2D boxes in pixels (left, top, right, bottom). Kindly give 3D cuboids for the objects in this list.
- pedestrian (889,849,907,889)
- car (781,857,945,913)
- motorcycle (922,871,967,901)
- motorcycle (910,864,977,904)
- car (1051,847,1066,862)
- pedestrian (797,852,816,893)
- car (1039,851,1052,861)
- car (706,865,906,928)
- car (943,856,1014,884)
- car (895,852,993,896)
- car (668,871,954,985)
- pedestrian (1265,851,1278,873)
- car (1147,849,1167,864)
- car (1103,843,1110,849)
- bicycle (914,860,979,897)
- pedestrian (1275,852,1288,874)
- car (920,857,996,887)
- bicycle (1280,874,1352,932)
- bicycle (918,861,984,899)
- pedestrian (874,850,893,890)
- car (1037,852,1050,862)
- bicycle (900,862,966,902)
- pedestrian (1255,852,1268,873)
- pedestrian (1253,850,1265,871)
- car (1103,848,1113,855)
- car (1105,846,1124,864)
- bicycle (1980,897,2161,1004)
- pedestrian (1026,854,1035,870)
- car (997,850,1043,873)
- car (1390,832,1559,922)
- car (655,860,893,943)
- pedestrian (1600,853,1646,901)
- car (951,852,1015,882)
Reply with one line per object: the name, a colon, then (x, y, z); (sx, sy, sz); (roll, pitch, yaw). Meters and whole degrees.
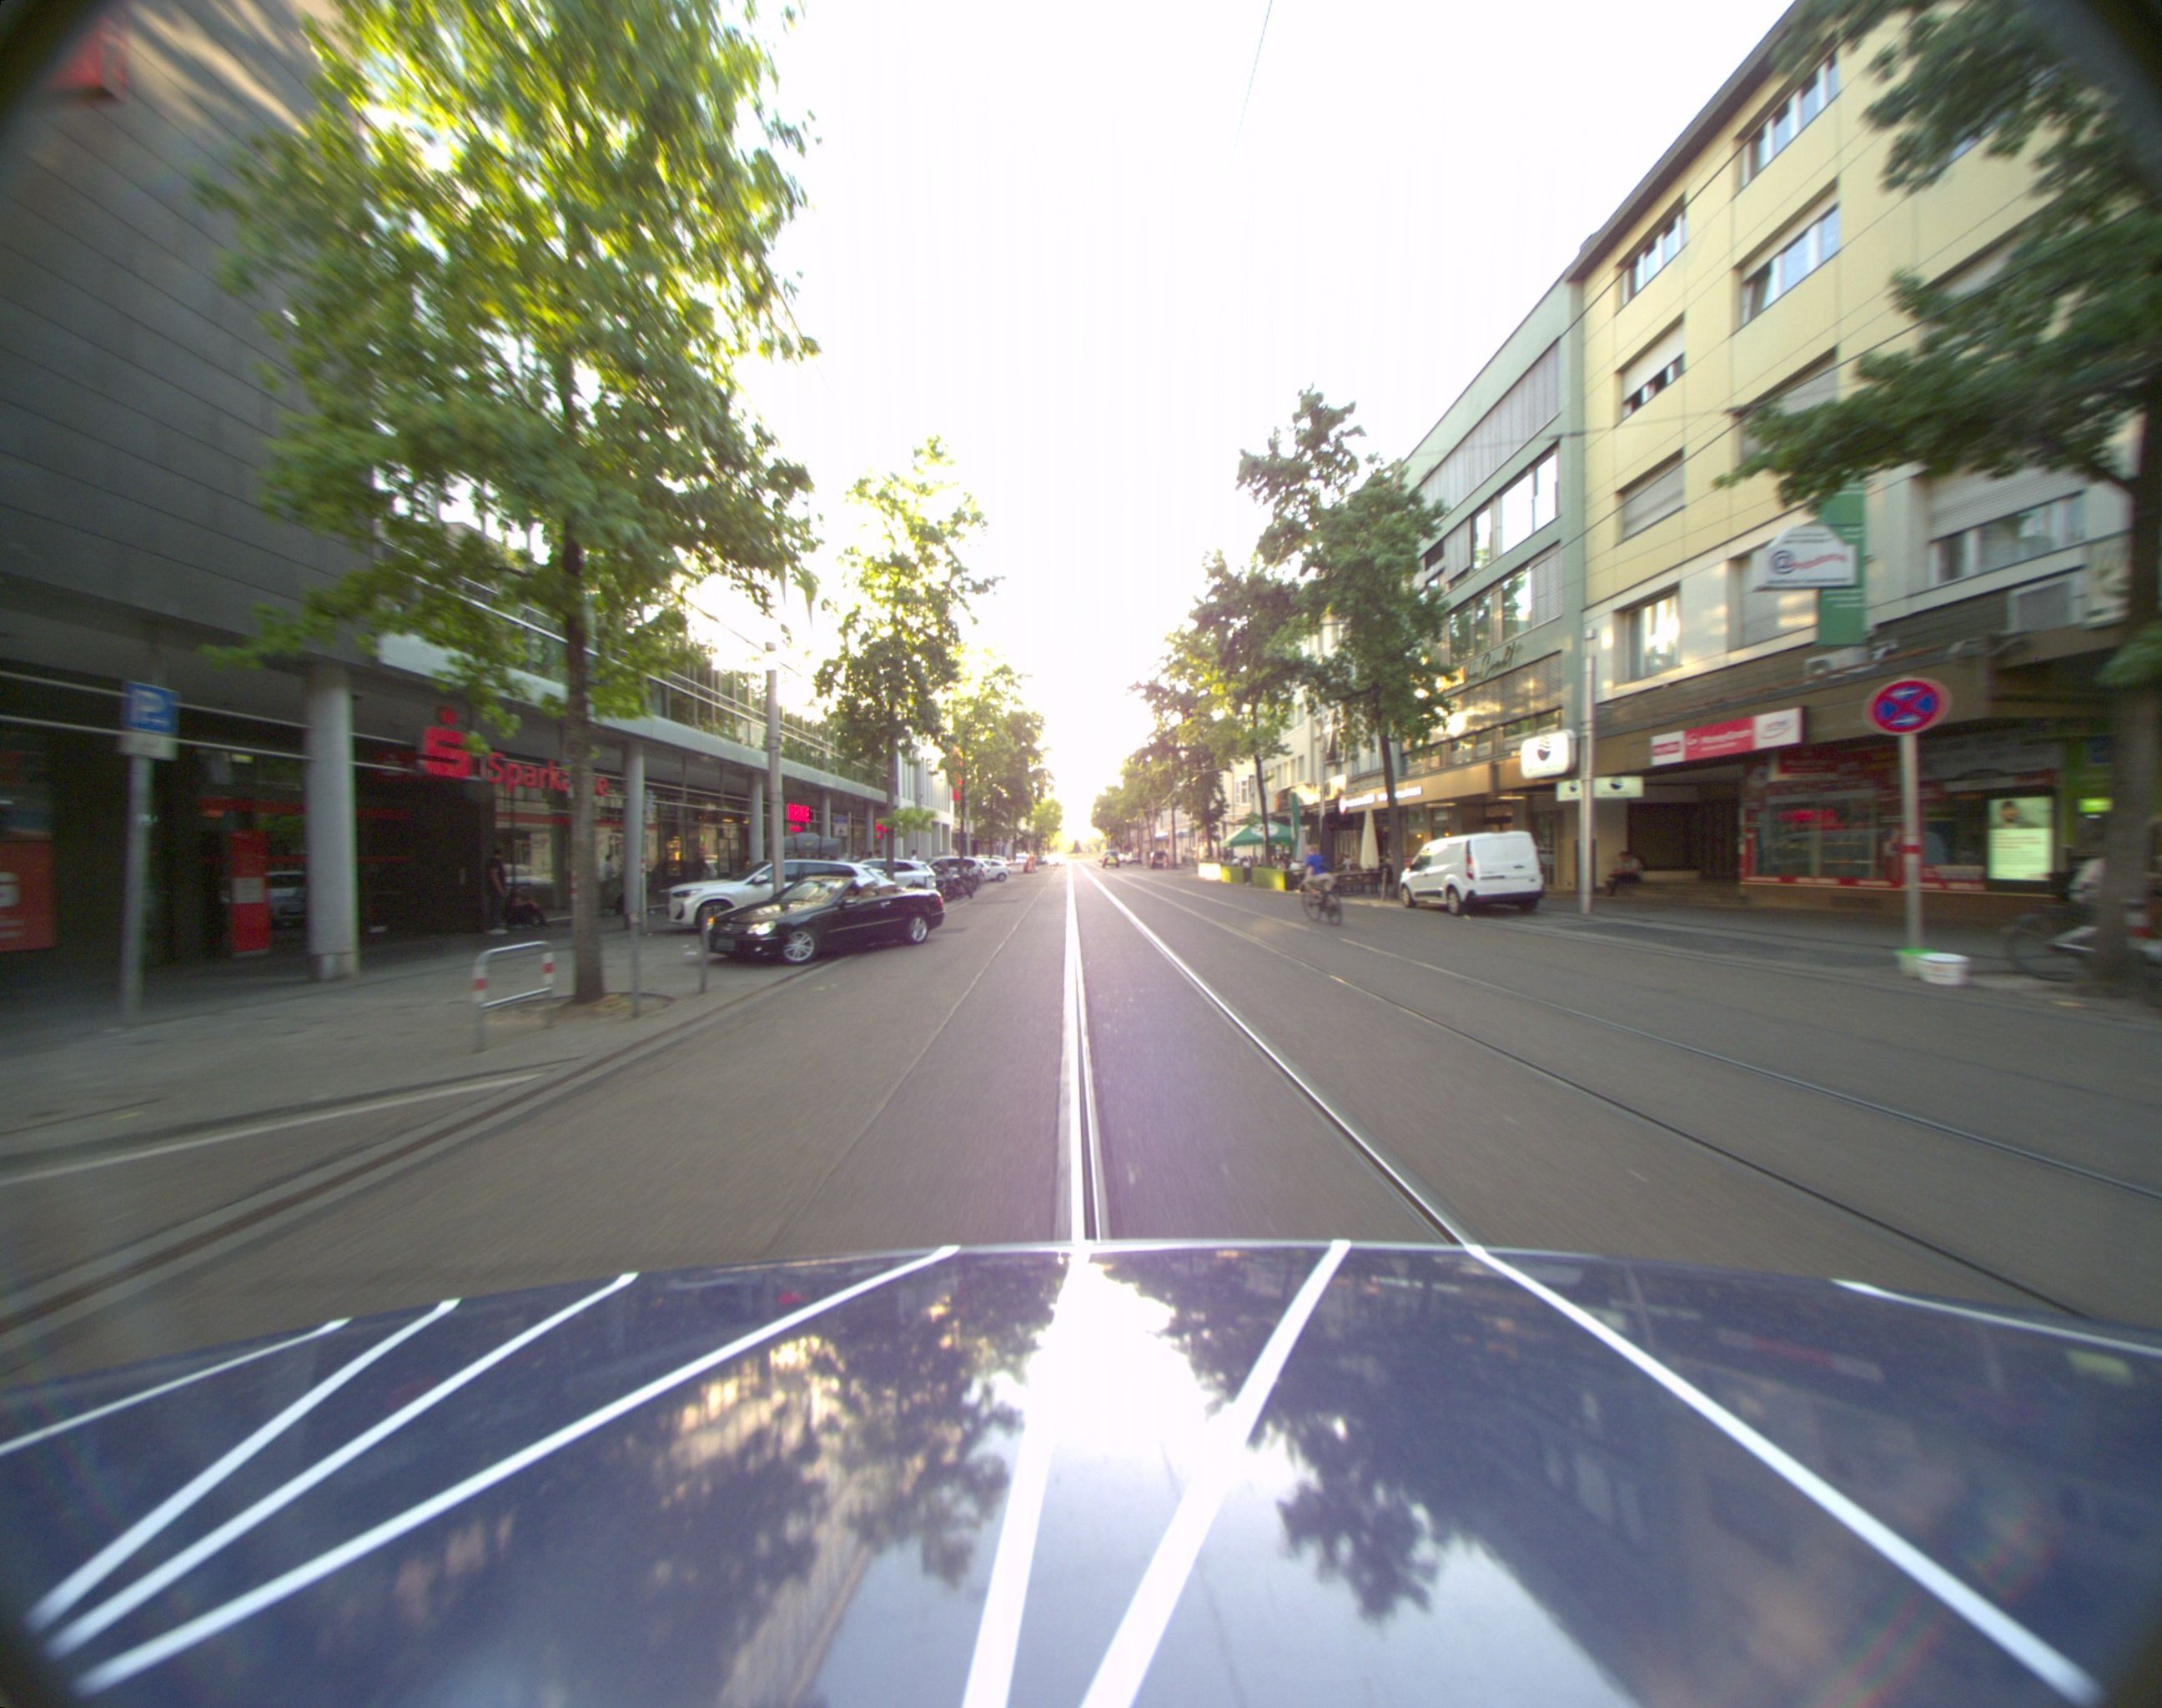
pedestrian: (-7.869, 0.645, 32.741); (0.618, 1.681, 0.628); (0, 1, 0)
car: (-6.887, 0.943, 24.235); (4.646, 1.578, 1.913); (1, 0, -35)
motorcycle: (-5.210, 1.211, 29.047); (1.574, 1.093, 0.627); (1, 1, -25)
motorcycle: (-4.973, 1.063, 27.557); (1.153, 1.346, 2.116); (1, 0, 41)
car: (-3.097, 0.081, 105.739); (1.998, 2.002, 4.000); (-1, 0, 0)
pedestrian: (-11.539, 0.763, 31.919); (0.558, 1.681, 0.628); (0, 1, 0)
car: (-5.978, 0.352, 128.380); (1.793, 1.499, 3.999); (-2, 1, 0)
car: (-7.068, 1.035, 19.603); (4.645, 1.431, 1.913); (1, 0, -28)
car: (-6.608, 1.005, 49.058); (4.005, 1.501, 1.861); (-4, 1, -30)
car: (-6.940, 1.004, 38.693); (4.474, 1.869, 1.795); (-4, 1, -37)
car: (-4.368, 1.130, 13.139); (1.796, 1.400, 4.573); (-3, 0, 28)
pedestrian: (13.007, 0.558, 51.848); (0.650, 1.451, 0.650); (-1, 1, -2)
car: (7.980, 0.286, 80.084); (1.799, 1.501, 4.000); (-1, 0, 0)
car: (6.769, -2.074, 199.696); (1.799, 1.501, 4.000); (-1, 0, 0)
bicycle: (-6.015, 1.087, 34.052); (2.677, 1.448, 0.675); (-4, 1, -26)
pedestrian: (13.141, 0.579, 49.758); (0.650, 1.451, 0.650); (-1, 1, -2)
car: (-7.348, 1.070, 45.506); (4.005, 1.501, 1.796); (-4, 1, -30)
bicycle: (4.892, 0.994, 15.975); (0.732, 1.067, 1.864); (-2, 1, -7)
bicycle: (-5.630, 1.089, 32.949); (2.677, 1.448, 0.728); (-4, 1, -27)
pedestrian: (-8.443, 0.666, 32.448); (0.618, 1.681, 0.628); (0, 1, 0)
car: (-6.011, 0.439, 121.179); (1.793, 1.499, 3.999); (-2, 1, 0)
bicycle: (-6.073, 1.126, 31.147); (2.492, 1.448, 0.656); (-4, 1, -26)
pedestrian: (12.304, 0.580, 51.784); (0.650, 1.451, 0.650); (-1, 1, -2)
pedestrian: (12.498, 0.420, 53.336); (0.650, 1.451, 0.650); (-1, 1, -2)
car: (5.444, -0.504, 151.978); (1.799, 1.501, 4.000); (-1, 0, 0)
car: (3.797, 0.083, 87.661); (1.998, 2.002, 4.000); (-1, 0, 0)
bicycle: (10.153, 0.928, 7.338); (0.480, 0.921, 1.824); (-3, 0, -21)
pedestrian: (-4.628, 0.694, 69.739); (0.650, 1.451, 0.649); (-1, 1, -17)
car: (-5.315, 0.660, 66.599); (1.860, 1.776, 4.007); (-3, 1, 34)
car: (9.286, 0.480, 18.394); (1.830, 1.811, 4.329); (-4, 0, 1)
car: (-6.758, 0.983, 16.904); (4.646, 1.619, 1.913); (1, -2, -32)
pedestrian: (13.637, 0.571, 19.125); (0.650, 1.168, 0.650); (-2, 1, -6)
car: (-6.923, 0.908, 53.767); (4.004, 1.776, 1.861); (-4, 1, -24)
